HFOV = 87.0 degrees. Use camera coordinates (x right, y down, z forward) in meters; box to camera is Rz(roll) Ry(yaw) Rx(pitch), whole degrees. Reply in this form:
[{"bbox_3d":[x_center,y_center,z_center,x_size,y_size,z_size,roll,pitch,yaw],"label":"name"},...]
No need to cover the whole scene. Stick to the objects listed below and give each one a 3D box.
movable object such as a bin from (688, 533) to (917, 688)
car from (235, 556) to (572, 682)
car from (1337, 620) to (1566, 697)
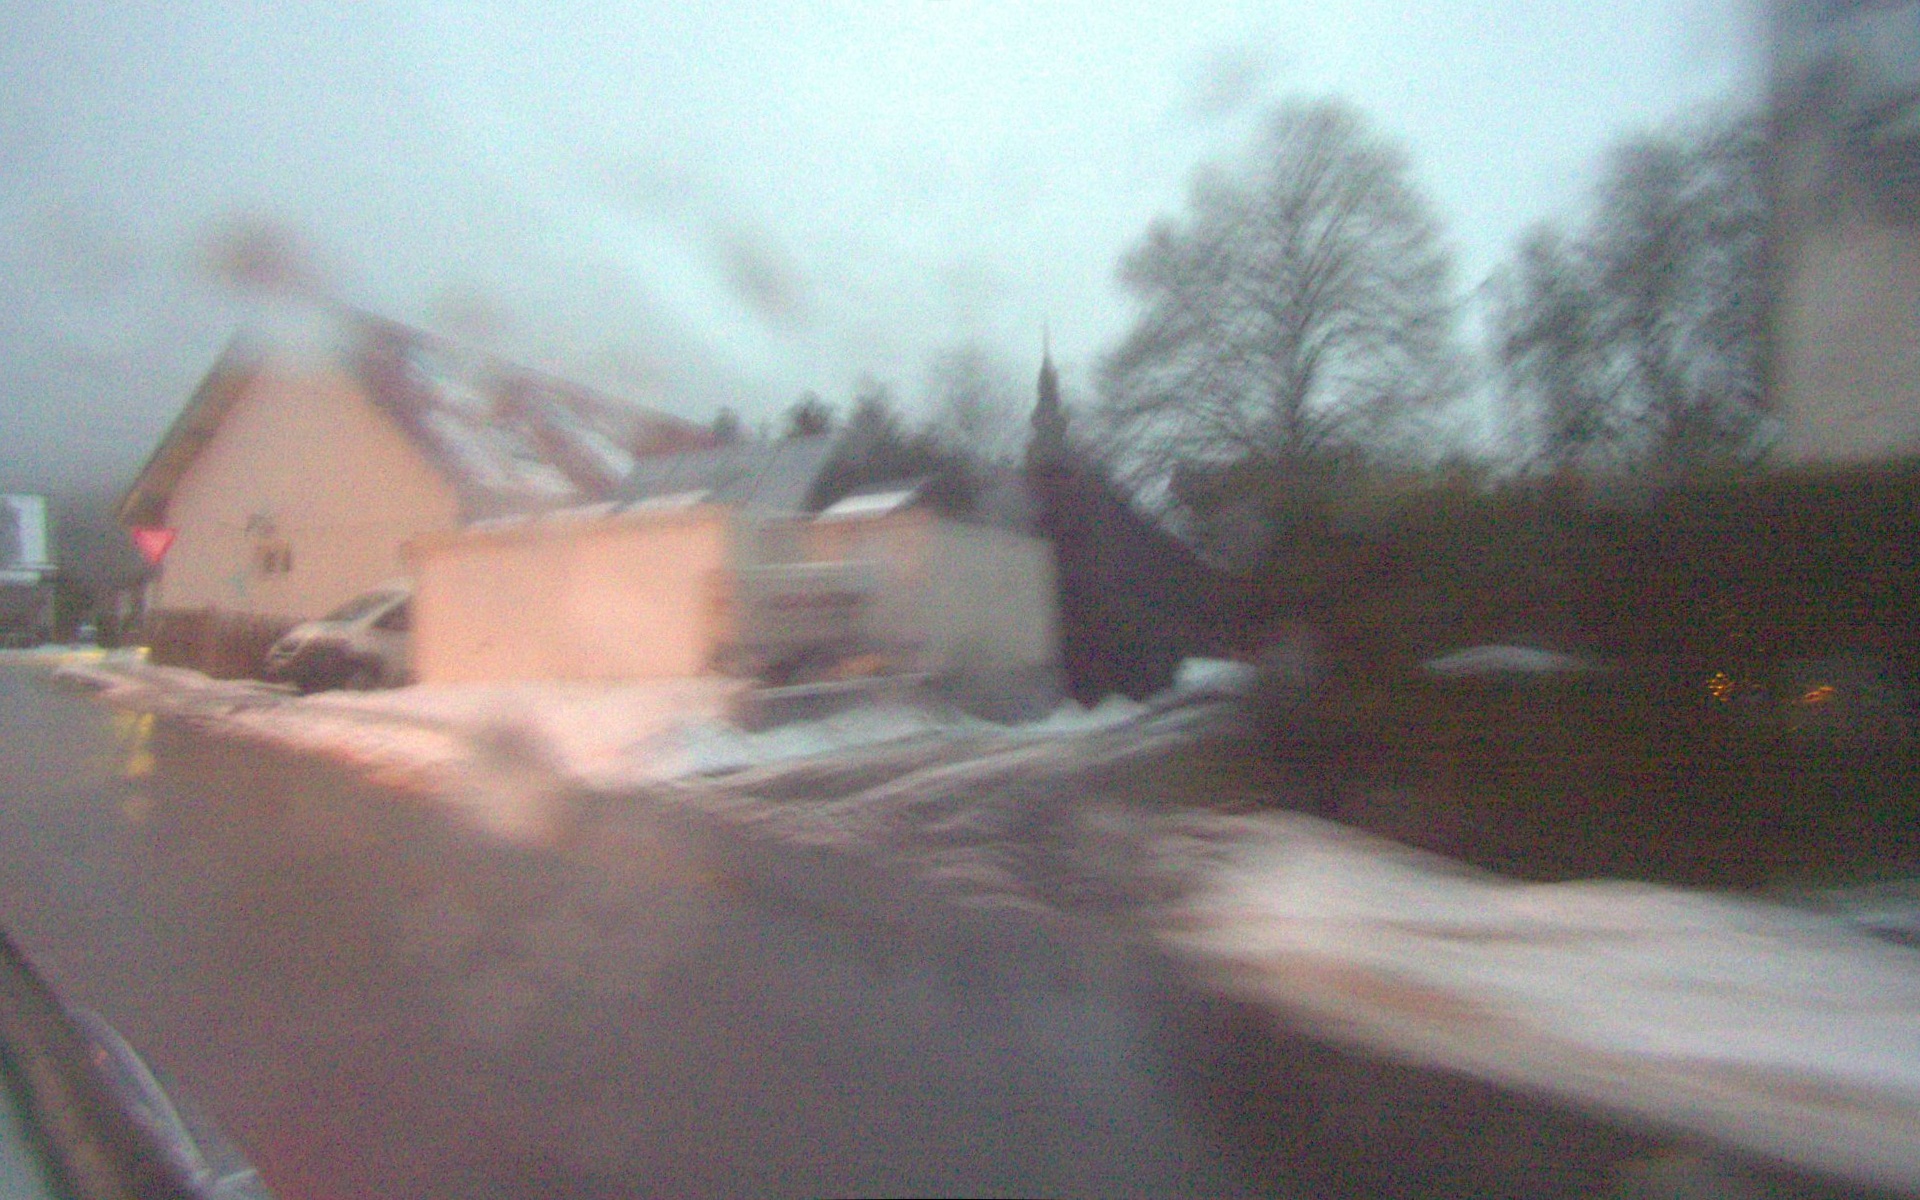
[{"bbox_3d":[-1.932,0.077,12.410,2.331,1.661,1.445,-4,2,-31],"label":"movable object such as a bin"},{"bbox_3d":[-10.422,0.305,19.401,2.210,2.028,5.216,3,1,35],"label":"car"},{"bbox_3d":[10.295,1.227,21.514,3.956,1.475,1.798,-2,-2,10],"label":"car"}]
